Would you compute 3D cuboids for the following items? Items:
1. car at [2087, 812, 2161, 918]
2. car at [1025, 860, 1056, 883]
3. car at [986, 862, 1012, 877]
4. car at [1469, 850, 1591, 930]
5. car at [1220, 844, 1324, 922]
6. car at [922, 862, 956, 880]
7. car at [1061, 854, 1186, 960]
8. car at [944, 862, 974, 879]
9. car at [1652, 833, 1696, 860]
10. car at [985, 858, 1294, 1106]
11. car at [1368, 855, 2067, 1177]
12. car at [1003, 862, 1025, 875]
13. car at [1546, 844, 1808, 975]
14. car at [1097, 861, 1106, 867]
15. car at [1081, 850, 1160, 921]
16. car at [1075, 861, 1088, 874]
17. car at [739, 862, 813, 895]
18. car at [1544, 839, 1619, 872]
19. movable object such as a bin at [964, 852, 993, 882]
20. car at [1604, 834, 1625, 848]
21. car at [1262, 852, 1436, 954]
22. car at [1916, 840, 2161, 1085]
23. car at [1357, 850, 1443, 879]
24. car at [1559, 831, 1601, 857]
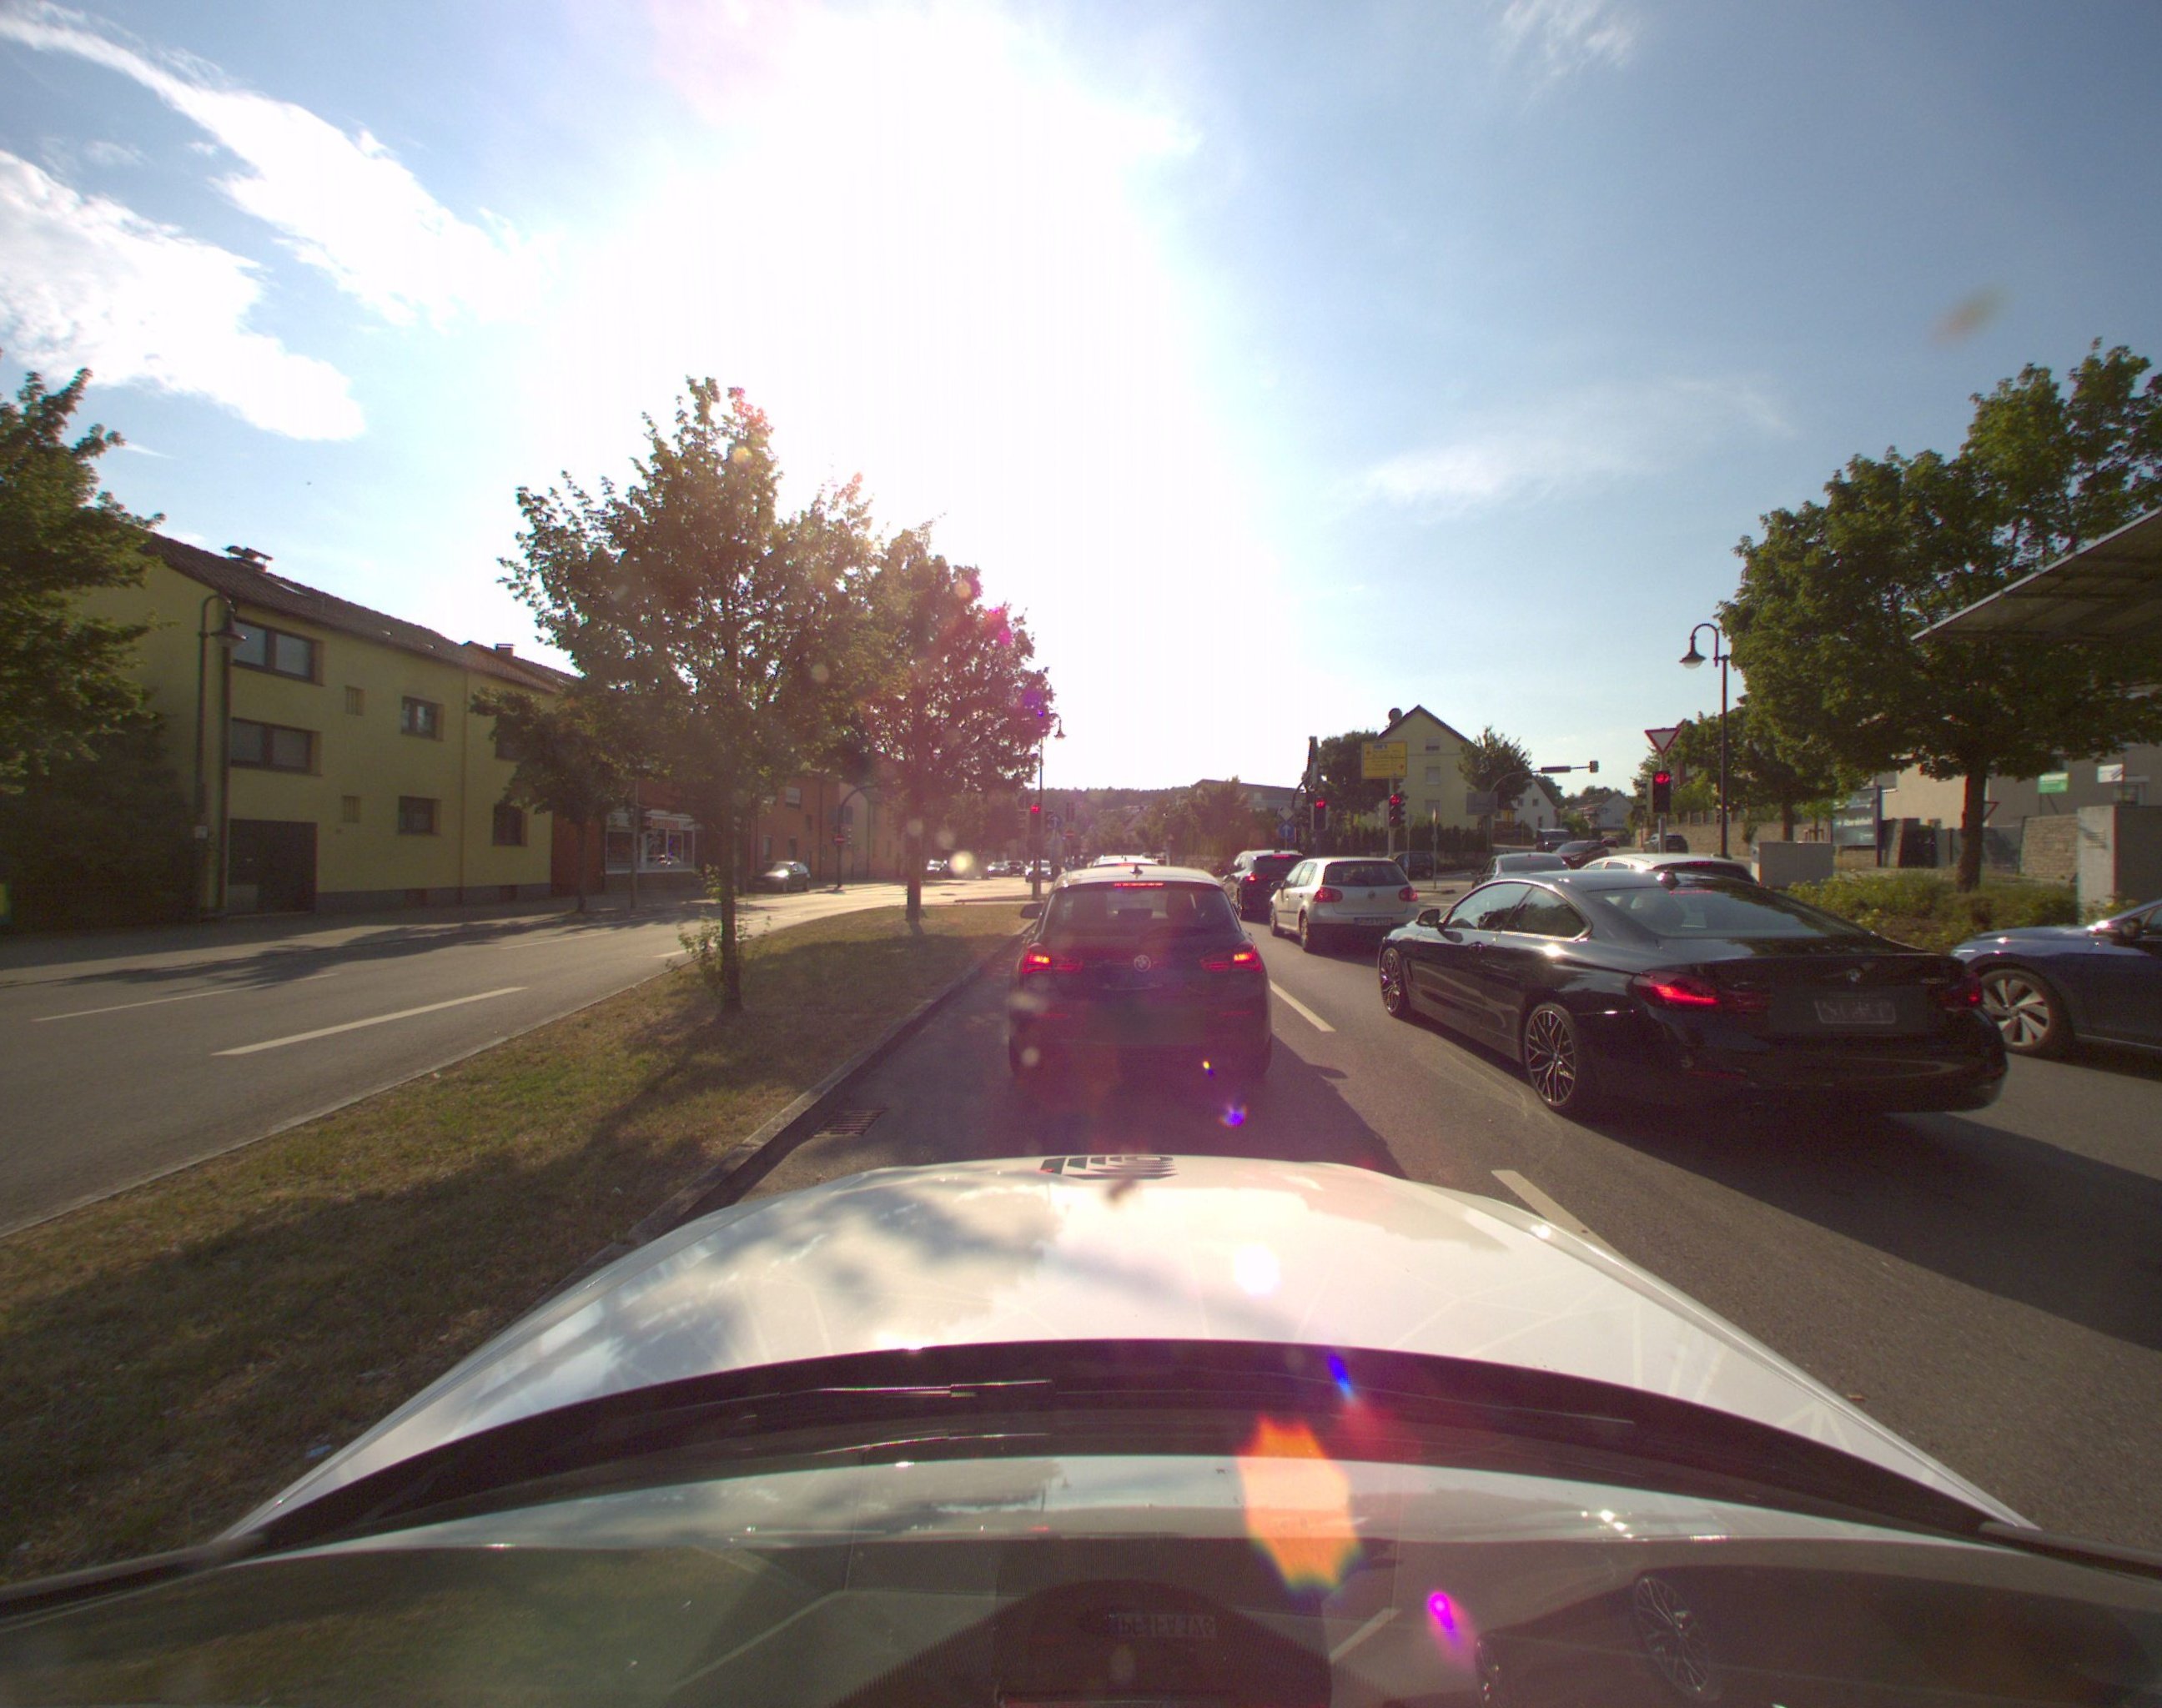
[{"bbox_3d":[18.489,0.157,12.376,3.793,1.632,1.784,0,0,10],"label":"car"},{"bbox_3d":[-2.827,1.212,57.069,1.832,1.482,4.002,-1,0,2],"label":"car"},{"bbox_3d":[-8.086,1.540,80.596,1.729,1.301,3.804,4,0,5],"label":"car"},{"bbox_3d":[9.878,0.711,18.230,1.642,1.542,4.420,-2,0,19],"label":"car"},{"bbox_3d":[4.565,0.647,20.038,1.755,1.656,3.905,-2,0,2],"label":"car"},{"bbox_3d":[-11.742,1.417,67.589,1.728,1.301,4.006,4,0,6],"label":"car"},{"bbox_3d":[0.715,0.778,14.105,1.781,1.494,4.283,-2,0,2],"label":"car"},{"bbox_3d":[-11.045,1.462,73.852,1.729,1.301,4.005,4,0,5],"label":"car"},{"bbox_3d":[39.881,-0.488,54.875,1.946,1.680,4.241,-2,0,30],"label":"car"},{"bbox_3d":[0.437,0.771,6.961,1.781,1.397,4.283,-2,0,2],"label":"car"},{"bbox_3d":[3.615,0.738,5.816,1.755,1.397,4.283,-2,0,2],"label":"car"},{"bbox_3d":[-7.597,1.597,92.508,1.729,1.301,3.804,4,0,5],"label":"car"},{"bbox_3d":[8.106,0.669,11.457,1.608,1.542,3.326,-2,0,9],"label":"car"},{"bbox_3d":[4.937,2.326,195.437,1.729,1.301,3.804,4,0,5],"label":"car"},{"bbox_3d":[1.017,0.737,21.144,1.781,1.594,4.283,-2,0,2],"label":"car"},{"bbox_3d":[0.110,2.411,145.977,2.076,2.394,5.531,0,0,2],"label":"car"},{"bbox_3d":[-14.140,1.109,38.027,1.730,1.301,4.002,4,0,2],"label":"car"},{"bbox_3d":[26.400,0.068,42.909,4.450,1.641,1.828,0,0,-36],"label":"car"},{"bbox_3d":[-8.815,1.117,70.558,1.729,2.442,4.452,-1,0,3],"label":"movable object such as a bin"},{"bbox_3d":[68.296,-1.706,104.250,1.945,1.680,4.242,-2,0,36],"label":"car"},{"bbox_3d":[4.317,0.714,13.756,1.755,1.426,3.905,-2,0,2],"label":"car"},{"bbox_3d":[7.380,0.651,4.252,1.754,1.453,4.323,-2,0,4],"label":"car"},{"bbox_3d":[17.345,0.566,44.351,3.974,1.489,1.848,0,0,-1],"label":"car"},{"bbox_3d":[35.785,-0.698,58.380,1.824,1.739,4.814,-1,0,40],"label":"car"}]
